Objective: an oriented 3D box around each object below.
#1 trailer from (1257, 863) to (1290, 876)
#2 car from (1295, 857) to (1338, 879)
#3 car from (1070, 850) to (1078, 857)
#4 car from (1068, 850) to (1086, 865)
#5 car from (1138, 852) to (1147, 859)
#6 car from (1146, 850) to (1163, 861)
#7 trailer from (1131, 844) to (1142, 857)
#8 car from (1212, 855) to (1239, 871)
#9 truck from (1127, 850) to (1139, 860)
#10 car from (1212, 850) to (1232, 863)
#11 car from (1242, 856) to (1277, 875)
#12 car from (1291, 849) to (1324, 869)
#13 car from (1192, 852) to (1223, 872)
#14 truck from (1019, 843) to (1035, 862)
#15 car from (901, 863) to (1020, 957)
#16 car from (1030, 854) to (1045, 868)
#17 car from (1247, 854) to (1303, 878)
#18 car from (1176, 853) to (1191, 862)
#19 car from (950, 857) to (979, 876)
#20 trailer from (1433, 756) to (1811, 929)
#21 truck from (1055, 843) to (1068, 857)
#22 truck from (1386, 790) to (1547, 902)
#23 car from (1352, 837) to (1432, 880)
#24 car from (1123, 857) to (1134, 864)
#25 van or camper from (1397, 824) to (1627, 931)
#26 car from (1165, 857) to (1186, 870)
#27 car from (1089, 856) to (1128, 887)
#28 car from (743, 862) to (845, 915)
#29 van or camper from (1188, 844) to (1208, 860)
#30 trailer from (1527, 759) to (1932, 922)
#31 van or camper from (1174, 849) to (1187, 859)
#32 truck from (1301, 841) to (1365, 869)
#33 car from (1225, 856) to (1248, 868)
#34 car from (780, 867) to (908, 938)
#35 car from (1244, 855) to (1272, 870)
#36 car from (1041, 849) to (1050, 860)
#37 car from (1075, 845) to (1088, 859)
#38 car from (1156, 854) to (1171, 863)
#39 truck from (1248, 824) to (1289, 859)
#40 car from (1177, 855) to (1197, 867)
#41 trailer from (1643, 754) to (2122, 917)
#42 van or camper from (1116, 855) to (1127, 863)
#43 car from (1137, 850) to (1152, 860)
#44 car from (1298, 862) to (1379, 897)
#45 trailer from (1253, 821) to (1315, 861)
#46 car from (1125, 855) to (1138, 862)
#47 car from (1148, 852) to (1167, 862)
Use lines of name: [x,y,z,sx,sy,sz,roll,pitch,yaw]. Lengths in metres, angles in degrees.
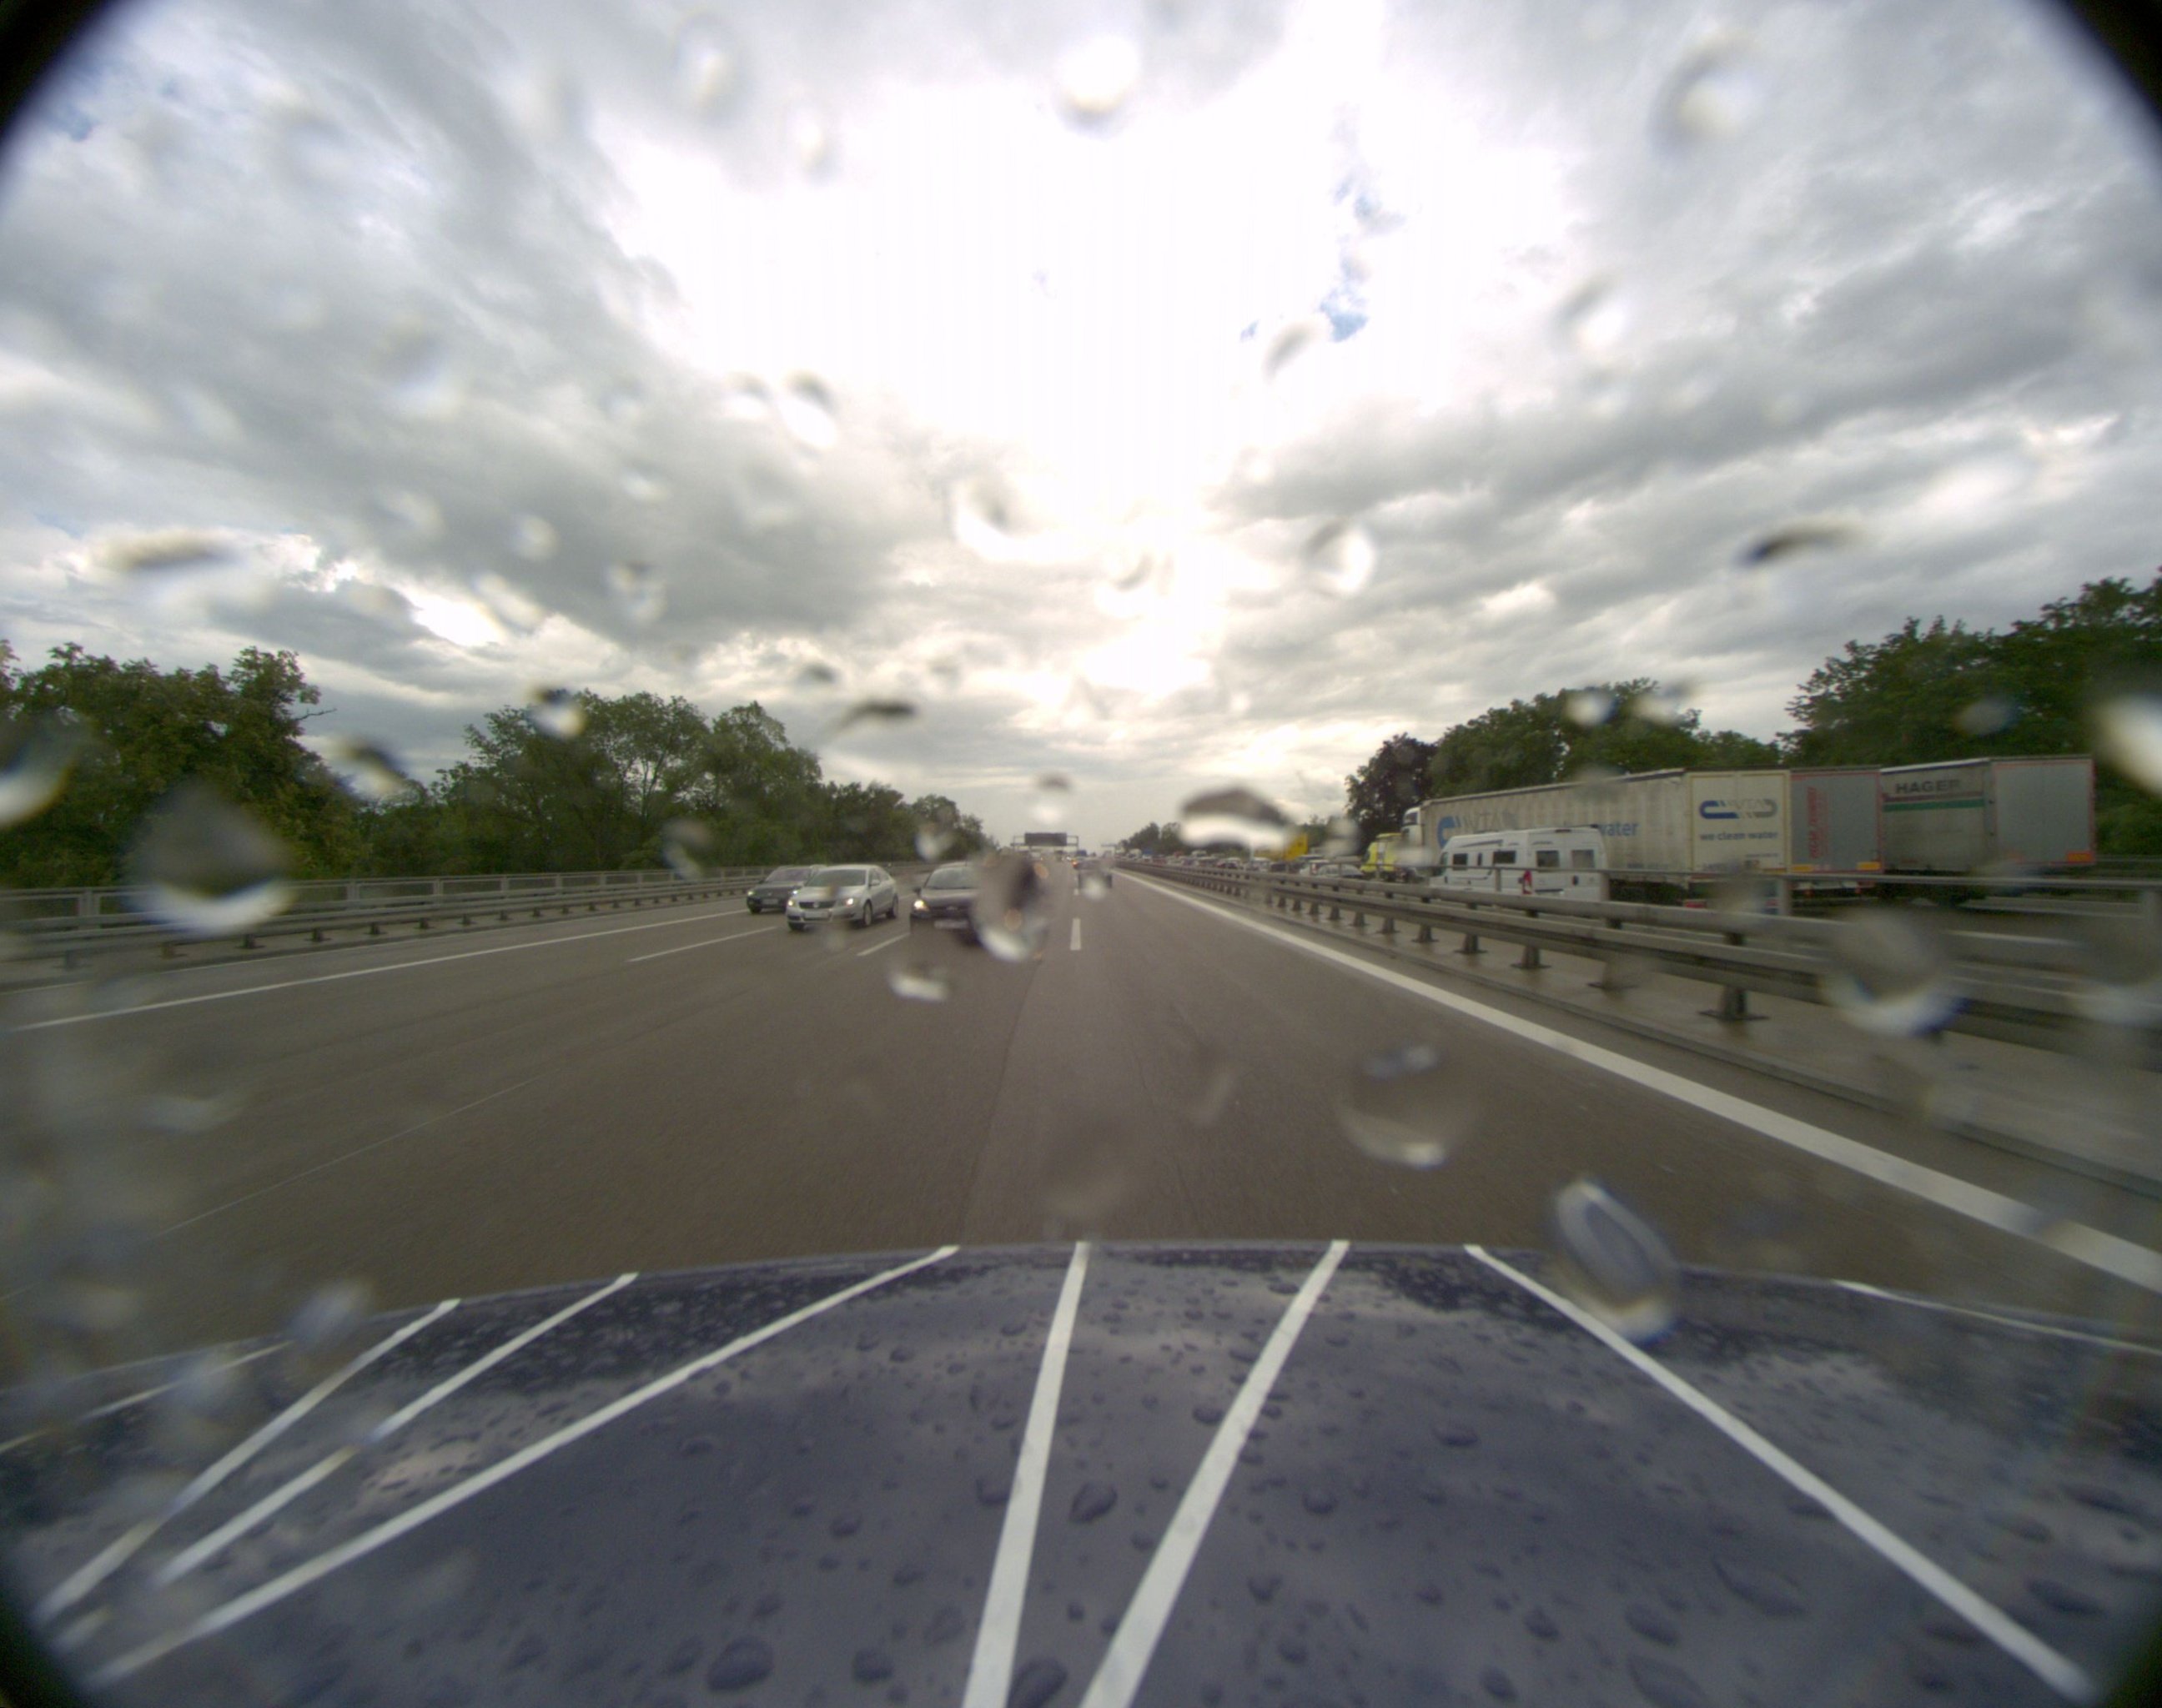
trailer: [15.618,1.257,61.902,1.730,1.031,3.340,0,0,-2]
car: [15.729,0.904,50.905,1.606,1.379,4.100,0,0,-1]
car: [-1.828,-0.126,199.953,1.999,2.002,3.507,-2,0,-1]
car: [-0.489,0.377,96.680,2.133,1.831,4.000,-1,0,1]
car: [16.645,0.343,204.988,1.999,1.698,3.999,-1,0,-3]
car: [11.547,0.211,120.049,1.872,1.660,5.172,-1,0,-3]
trailer: [18.389,-1.147,252.878,2.468,3.934,13.217,-1,0,-2]
car: [14.769,0.870,78.003,1.752,1.567,4.417,0,0,-2]
truck: [13.228,0.291,194.137,2.152,2.587,8.755,-1,0,-1]
car: [22.647,0.350,122.062,1.999,2.002,5.411,-1,0,-3]
car: [15.457,0.967,65.945,1.752,1.567,4.688,0,0,-2]
car: [18.831,0.374,63.384,1.537,1.586,3.999,-1,0,-1]
car: [11.728,0.708,70.564,1.918,1.756,5.330,-1,0,0]
truck: [-11.850,-0.380,167.952,3.255,3.884,12.310,-2,0,-4]
car: [-2.184,0.961,14.866,1.668,1.431,4.404,-1,1,-1]
car: [-5.882,0.882,102.812,1.962,1.831,3.999,-1,0,-2]
car: [11.969,0.731,47.260,2.020,1.379,5.458,0,0,-1]
car: [18.211,0.659,135.413,1.732,1.603,4.462,0,0,-3]
car: [-9.358,0.978,61.280,1.782,1.438,4.587,-1,0,-2]
trailer: [15.903,-0.285,24.624,2.888,4.121,13.026,0,0,0]
truck: [-5.485,-1.088,213.003,2.958,3.777,12.323,-2,0,-5]
truck: [15.825,-0.299,31.961,2.888,4.156,7.556,0,0,-1]
car: [19.135,0.244,47.192,2.161,2.490,6.772,0,0,0]
car: [10.412,1.398,166.064,1.830,1.665,5.357,-1,0,-2]
van or camper: [11.593,0.543,21.417,2.284,2.481,7.302,0,0,0]
car: [11.079,1.078,89.364,1.767,1.375,4.819,0,0,-2]
car: [1.345,0.848,38.351,1.781,1.399,5.016,-1,0,0]
car: [-9.428,1.087,25.335,1.820,1.534,4.357,-1,0,-2]
van or camper: [21.504,-0.345,139.666,2.208,2.749,7.229,-1,0,-3]
trailer: [20.286,-0.364,25.813,2.887,4.121,13.028,0,0,1]
van or camper: [22.164,0.025,169.251,1.945,2.291,6.233,-1,0,-2]
truck: [22.821,0.112,69.314,2.687,2.357,9.273,0,0,0]
car: [18.746,0.945,91.759,1.828,1.429,4.051,0,0,-3]
car: [-5.648,1.097,18.672,1.898,1.438,4.245,-1,0,-2]
car: [18.491,0.847,79.486,1.752,1.470,4.417,0,0,-2]
car: [-8.414,0.089,179.613,2.037,2.587,4.513,0,0,-1]
car: [0.047,-0.402,131.295,1.999,2.354,4.171,-2,0,-1]
car: [14.503,0.769,134.042,1.868,1.603,4.462,0,0,-3]
truck: [23.198,-1.479,94.415,3.256,4.225,6.881,0,0,-1]
car: [14.672,0.899,105.302,1.784,1.602,4.576,0,0,-3]
trailer: [24.151,-0.470,24.744,2.765,3.970,12.306,0,0,1]
van or camper: [9.644,1.210,182.549,1.989,2.056,5.641,-1,0,-3]
car: [10.980,0.189,132.278,1.871,1.815,5.707,-1,0,-3]
car: [11.663,1.113,34.867,1.927,1.410,5.164,0,0,-1]
trailer: [23.240,-1.437,88.168,3.256,4.203,14.508,0,0,0]
car: [10.160,0.874,153.237,1.879,1.384,5.363,-1,0,-3]
car: [10.947,0.401,109.148,2.000,1.454,4.840,-1,0,-3]
